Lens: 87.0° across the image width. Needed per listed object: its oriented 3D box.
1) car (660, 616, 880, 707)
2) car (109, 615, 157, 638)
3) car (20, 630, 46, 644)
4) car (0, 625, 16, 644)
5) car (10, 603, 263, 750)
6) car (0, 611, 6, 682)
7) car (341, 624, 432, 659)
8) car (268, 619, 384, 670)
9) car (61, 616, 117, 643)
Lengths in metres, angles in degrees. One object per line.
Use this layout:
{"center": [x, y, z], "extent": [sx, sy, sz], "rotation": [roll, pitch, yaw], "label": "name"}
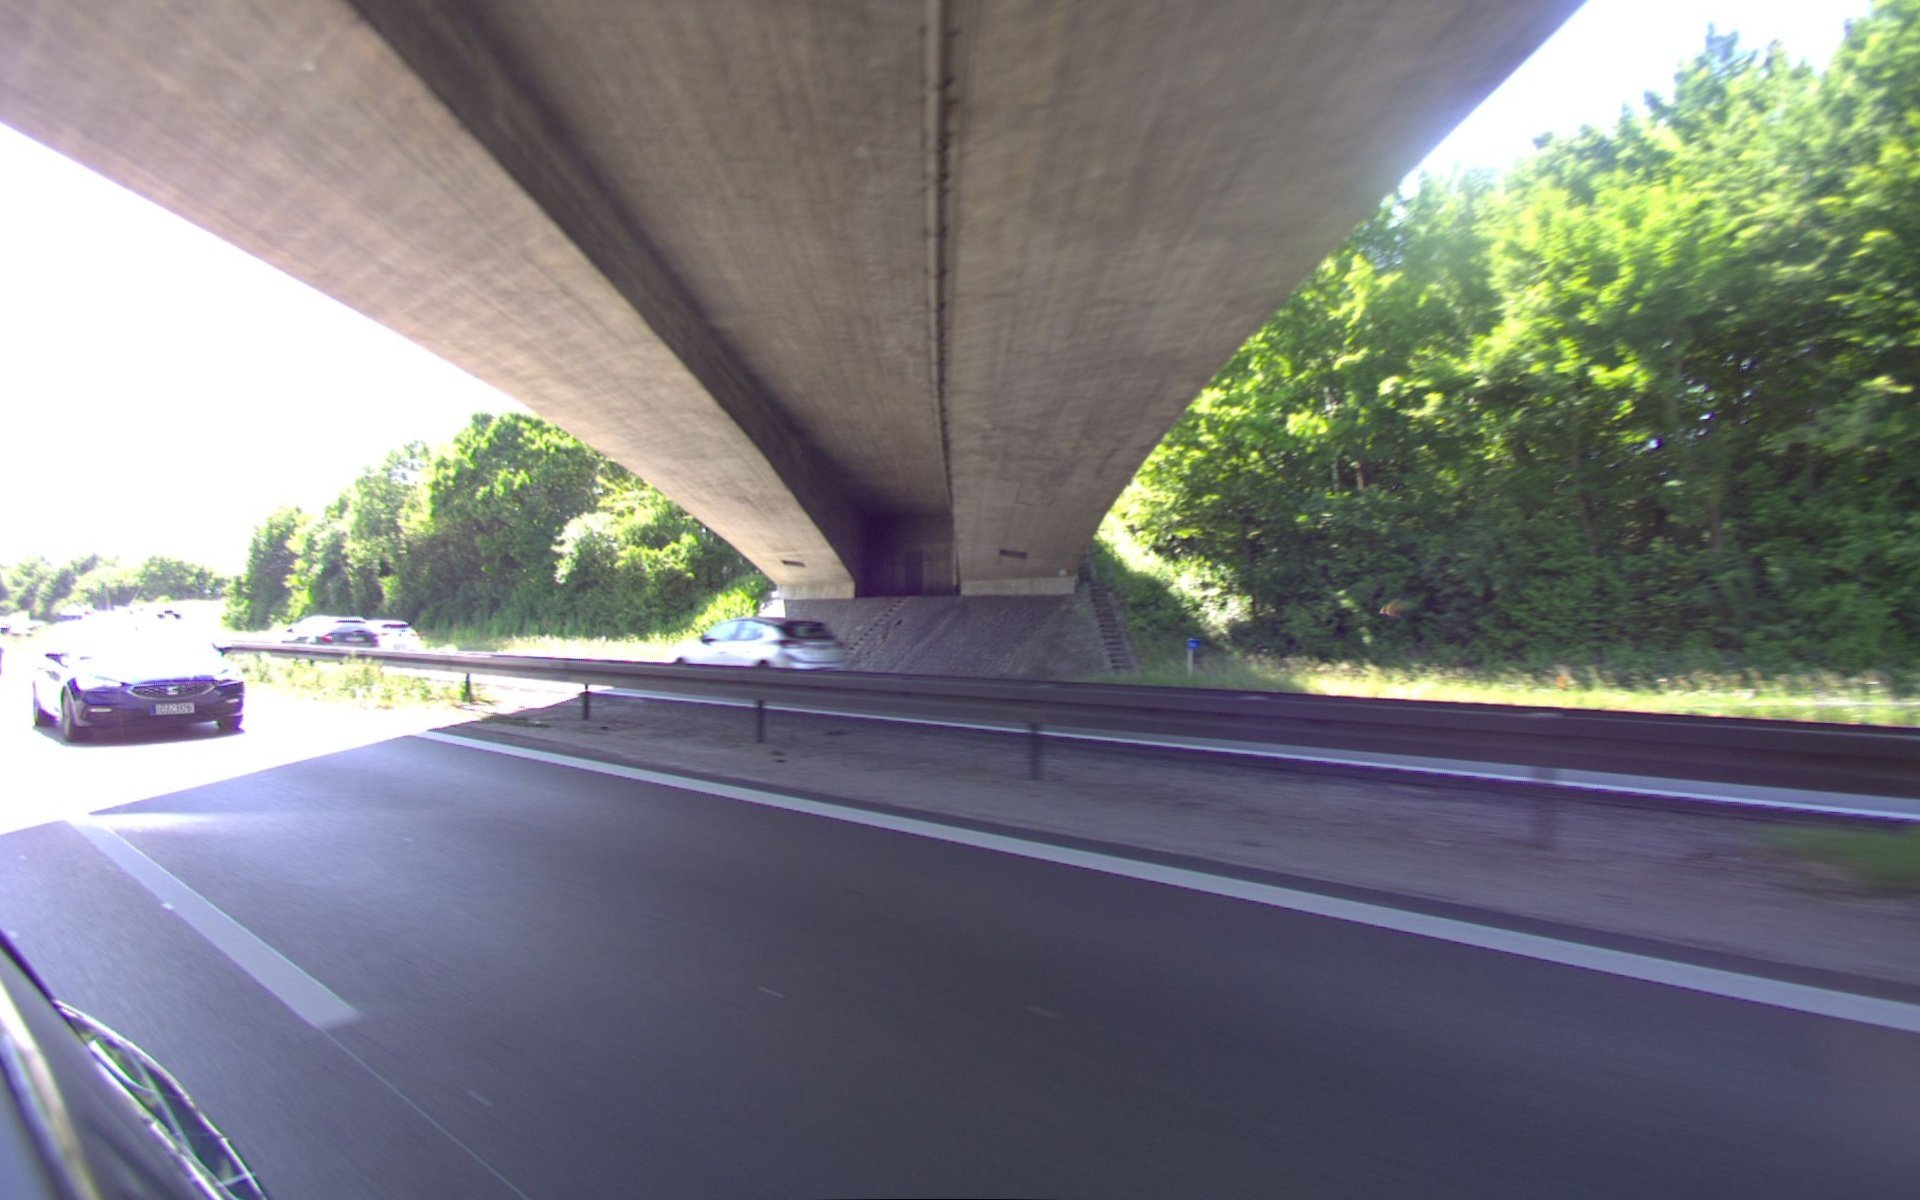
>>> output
{"center": [-3.567, 1.053, 18.549], "extent": [4.346, 1.493, 1.665], "rotation": [-1, -2, 42], "label": "car"}
{"center": [-56.968, 1.849, 69.692], "extent": [4.211, 1.539, 1.840], "rotation": [-1, -2, 41], "label": "car"}
{"center": [-107.904, 4.287, 117.780], "extent": [4.127, 1.566, 1.777], "rotation": [-2, -4, 42], "label": "car"}
{"center": [-86.951, 3.077, 91.618], "extent": [4.127, 1.679, 1.778], "rotation": [-2, -2, 42], "label": "car"}
{"center": [-10.966, 0.898, 13.380], "extent": [4.237, 1.638, 1.880], "rotation": [-1, -1, 41], "label": "car"}
{"center": [-25.770, 1.152, 25.789], "extent": [3.981, 1.736, 1.845], "rotation": [0, -1, 43], "label": "car"}
{"center": [-23.051, 1.646, 40.633], "extent": [4.366, 1.312, 1.756], "rotation": [-1, -4, 40], "label": "car"}
{"center": [-19.799, 1.375, 31.537], "extent": [4.417, 1.485, 1.756], "rotation": [-1, -4, 40], "label": "car"}
{"center": [-51.770, 1.730, 60.152], "extent": [4.748, 1.539, 1.840], "rotation": [-1, -2, 41], "label": "car"}
